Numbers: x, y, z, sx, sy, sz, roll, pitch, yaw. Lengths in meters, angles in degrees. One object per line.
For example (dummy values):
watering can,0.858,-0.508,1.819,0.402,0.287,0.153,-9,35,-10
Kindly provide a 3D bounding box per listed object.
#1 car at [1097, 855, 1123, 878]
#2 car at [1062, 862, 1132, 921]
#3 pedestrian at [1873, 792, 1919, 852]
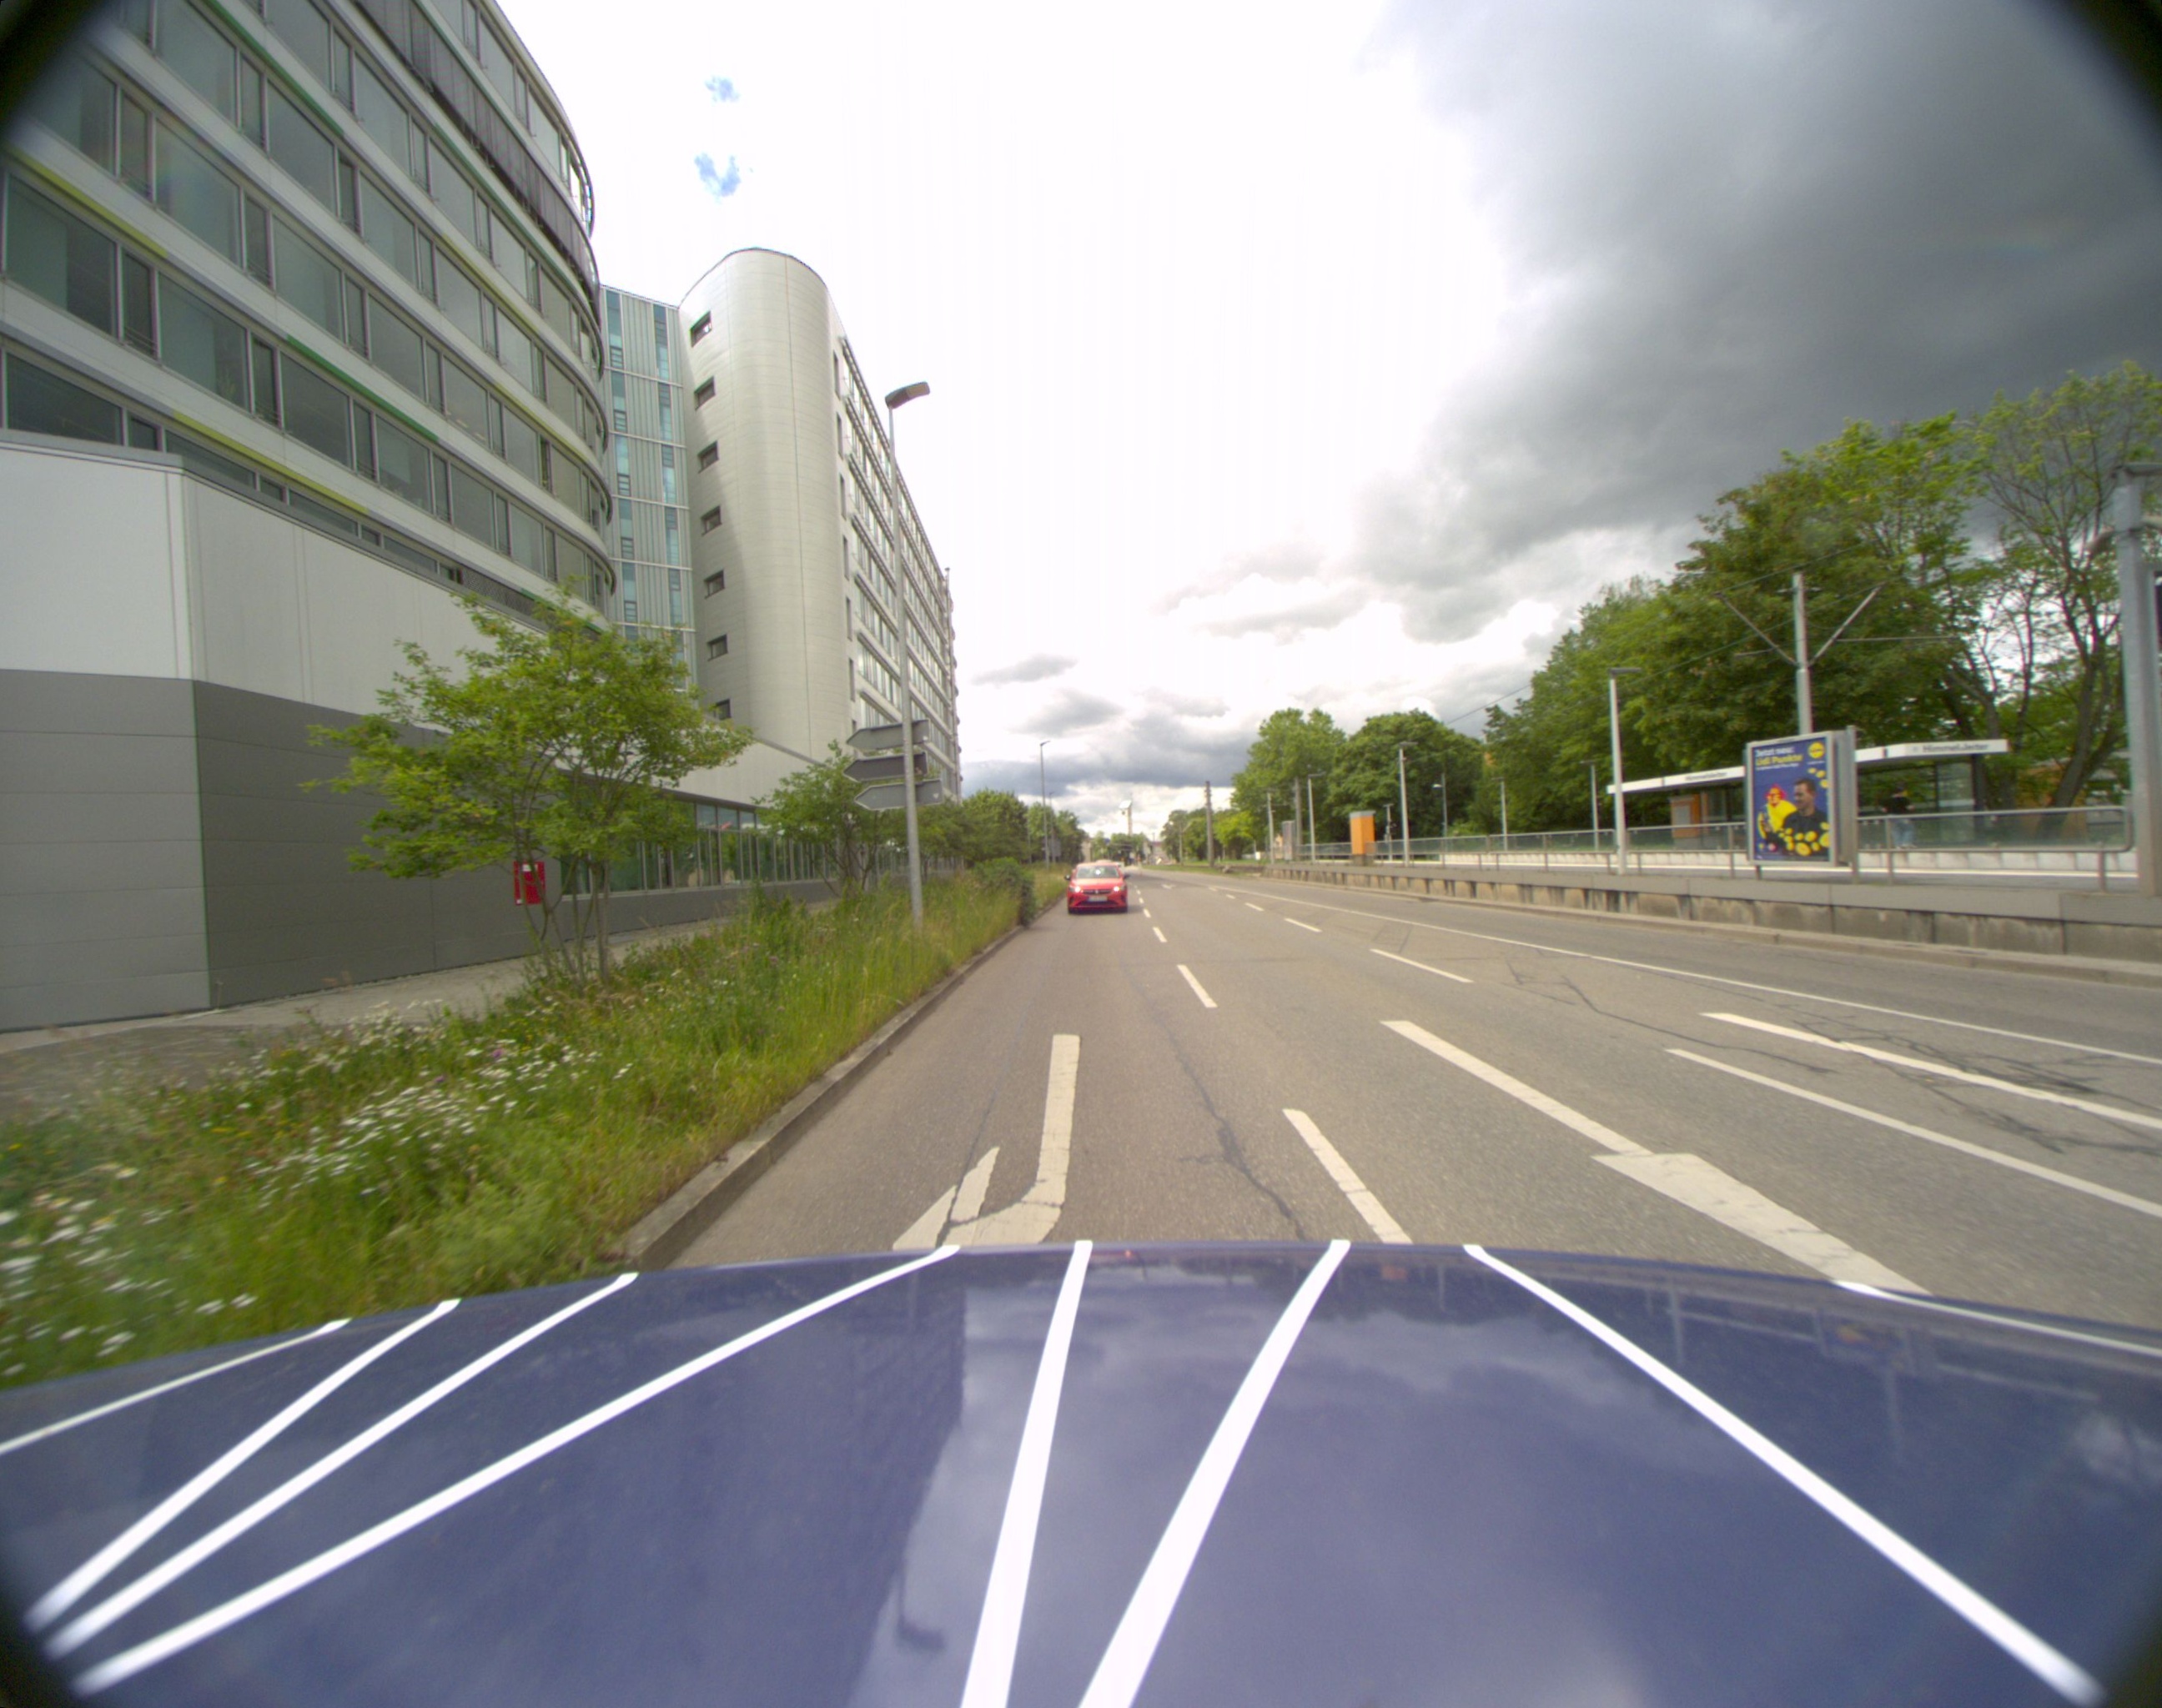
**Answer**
car,2.156,0.899,56.234,1.841,1.586,4.001,-3,0,2
car,0.457,0.999,22.162,1.790,1.453,4.853,-2,0,1
pedestrian,21.444,-0.839,19.992,0.548,1.522,0.742,-3,1,-38
